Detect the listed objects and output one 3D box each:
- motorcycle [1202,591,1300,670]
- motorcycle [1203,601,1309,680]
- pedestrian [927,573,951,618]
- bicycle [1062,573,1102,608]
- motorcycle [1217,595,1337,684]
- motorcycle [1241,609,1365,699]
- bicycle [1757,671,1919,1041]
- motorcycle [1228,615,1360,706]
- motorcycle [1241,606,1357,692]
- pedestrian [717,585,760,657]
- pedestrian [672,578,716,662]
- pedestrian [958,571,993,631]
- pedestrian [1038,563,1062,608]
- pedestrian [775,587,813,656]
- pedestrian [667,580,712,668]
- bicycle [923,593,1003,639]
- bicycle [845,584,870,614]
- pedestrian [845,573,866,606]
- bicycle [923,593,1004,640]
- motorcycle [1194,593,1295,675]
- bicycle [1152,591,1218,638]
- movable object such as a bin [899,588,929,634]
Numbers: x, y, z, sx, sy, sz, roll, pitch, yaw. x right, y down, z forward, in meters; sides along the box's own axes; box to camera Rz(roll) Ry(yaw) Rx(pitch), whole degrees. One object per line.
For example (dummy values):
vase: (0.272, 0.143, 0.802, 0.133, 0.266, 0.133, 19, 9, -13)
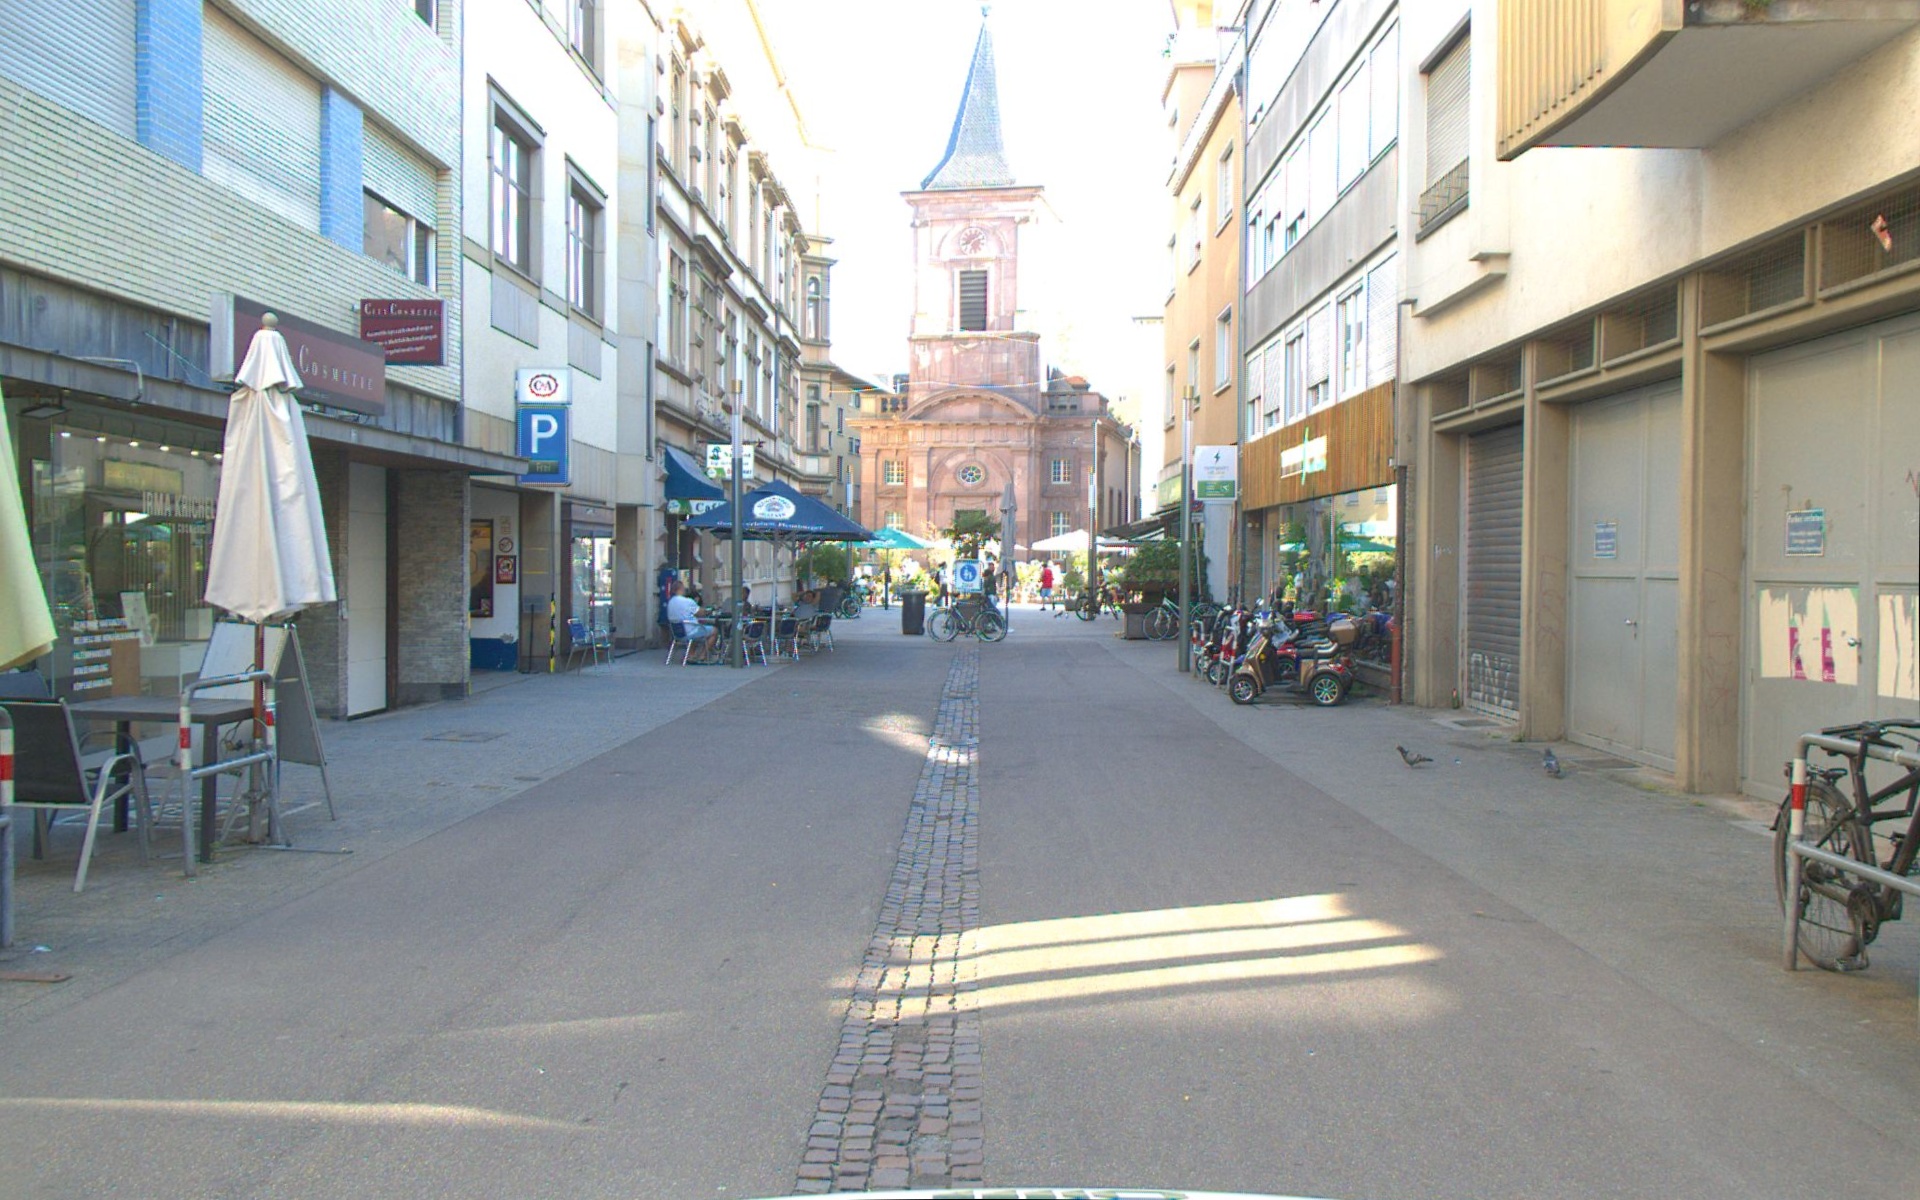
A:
motorcycle: (4.506, 0.457, 25.610, 1.452, 1.202, 0.412, 0, 0, 16)
motorcycle: (4.241, 0.570, 23.674, 1.452, 1.094, 0.412, 0, 1, 19)
pedestrian: (-0.742, -0.157, 58.581, 0.767, 1.583, 0.535, 1, 1, 11)
bicycle: (4.646, -0.363, 62.771, 1.568, 1.330, 0.362, 0, 1, -29)
motorcycle: (4.391, 0.531, 22.903, 1.590, 1.195, 0.481, 0, 1, 19)
motorcycle: (4.287, 0.660, 20.696, 1.485, 1.094, 0.412, 0, 1, 19)
bicycle: (3.427, 0.873, 5.952, 0.437, 1.160, 1.711, 1, 0, 6)
motorcycle: (4.031, 0.717, 19.959, 1.531, 1.060, 0.373, 0, 1, 19)
motorcycle: (4.440, 0.627, 21.695, 1.452, 1.094, 0.412, 0, 1, 19)
pedestrian: (-3.948, 0.364, 29.519, 0.750, 1.254, 0.830, 0, 1, -7)
pedestrian: (-4.463, 0.323, 27.718, 0.705, 1.392, 0.708, 0, 1, -12)
pedestrian: (0.402, 0.015, 41.462, 0.865, 1.489, 0.731, 0, 1, 1)
pedestrian: (3.364, -0.534, 61.797, 0.605, 1.669, 0.651, 0, 1, -32)
pedestrian: (-3.029, 0.385, 30.170, 0.679, 1.236, 0.582, 0, 1, -8)
pedestrian: (-4.360, 0.376, 26.636, 0.695, 1.392, 0.718, 0, 1, -12)
bicycle: (0.064, 0.353, 37.364, 1.787, 1.022, 0.381, 0, 1, -3)
bicycle: (-3.051, -0.042, 49.271, 0.447, 0.864, 2.148, 0, 1, 4)
pedestrian: (-4.005, -0.399, 63.480, 0.685, 1.239, 0.720, 0, 1, 6)
bicycle: (0.081, 0.362, 36.971, 1.787, 1.022, 0.381, 0, 1, -3)
motorcycle: (4.234, 0.499, 24.594, 1.452, 1.202, 0.412, 0, 0, 16)
bicycle: (4.976, 0.311, 36.556, 1.432, 1.022, 0.573, 1, 1, 7)
movable object such as a bin: (-1.116, 0.264, 40.250, 0.707, 1.093, 0.374, 0, 1, -1)
